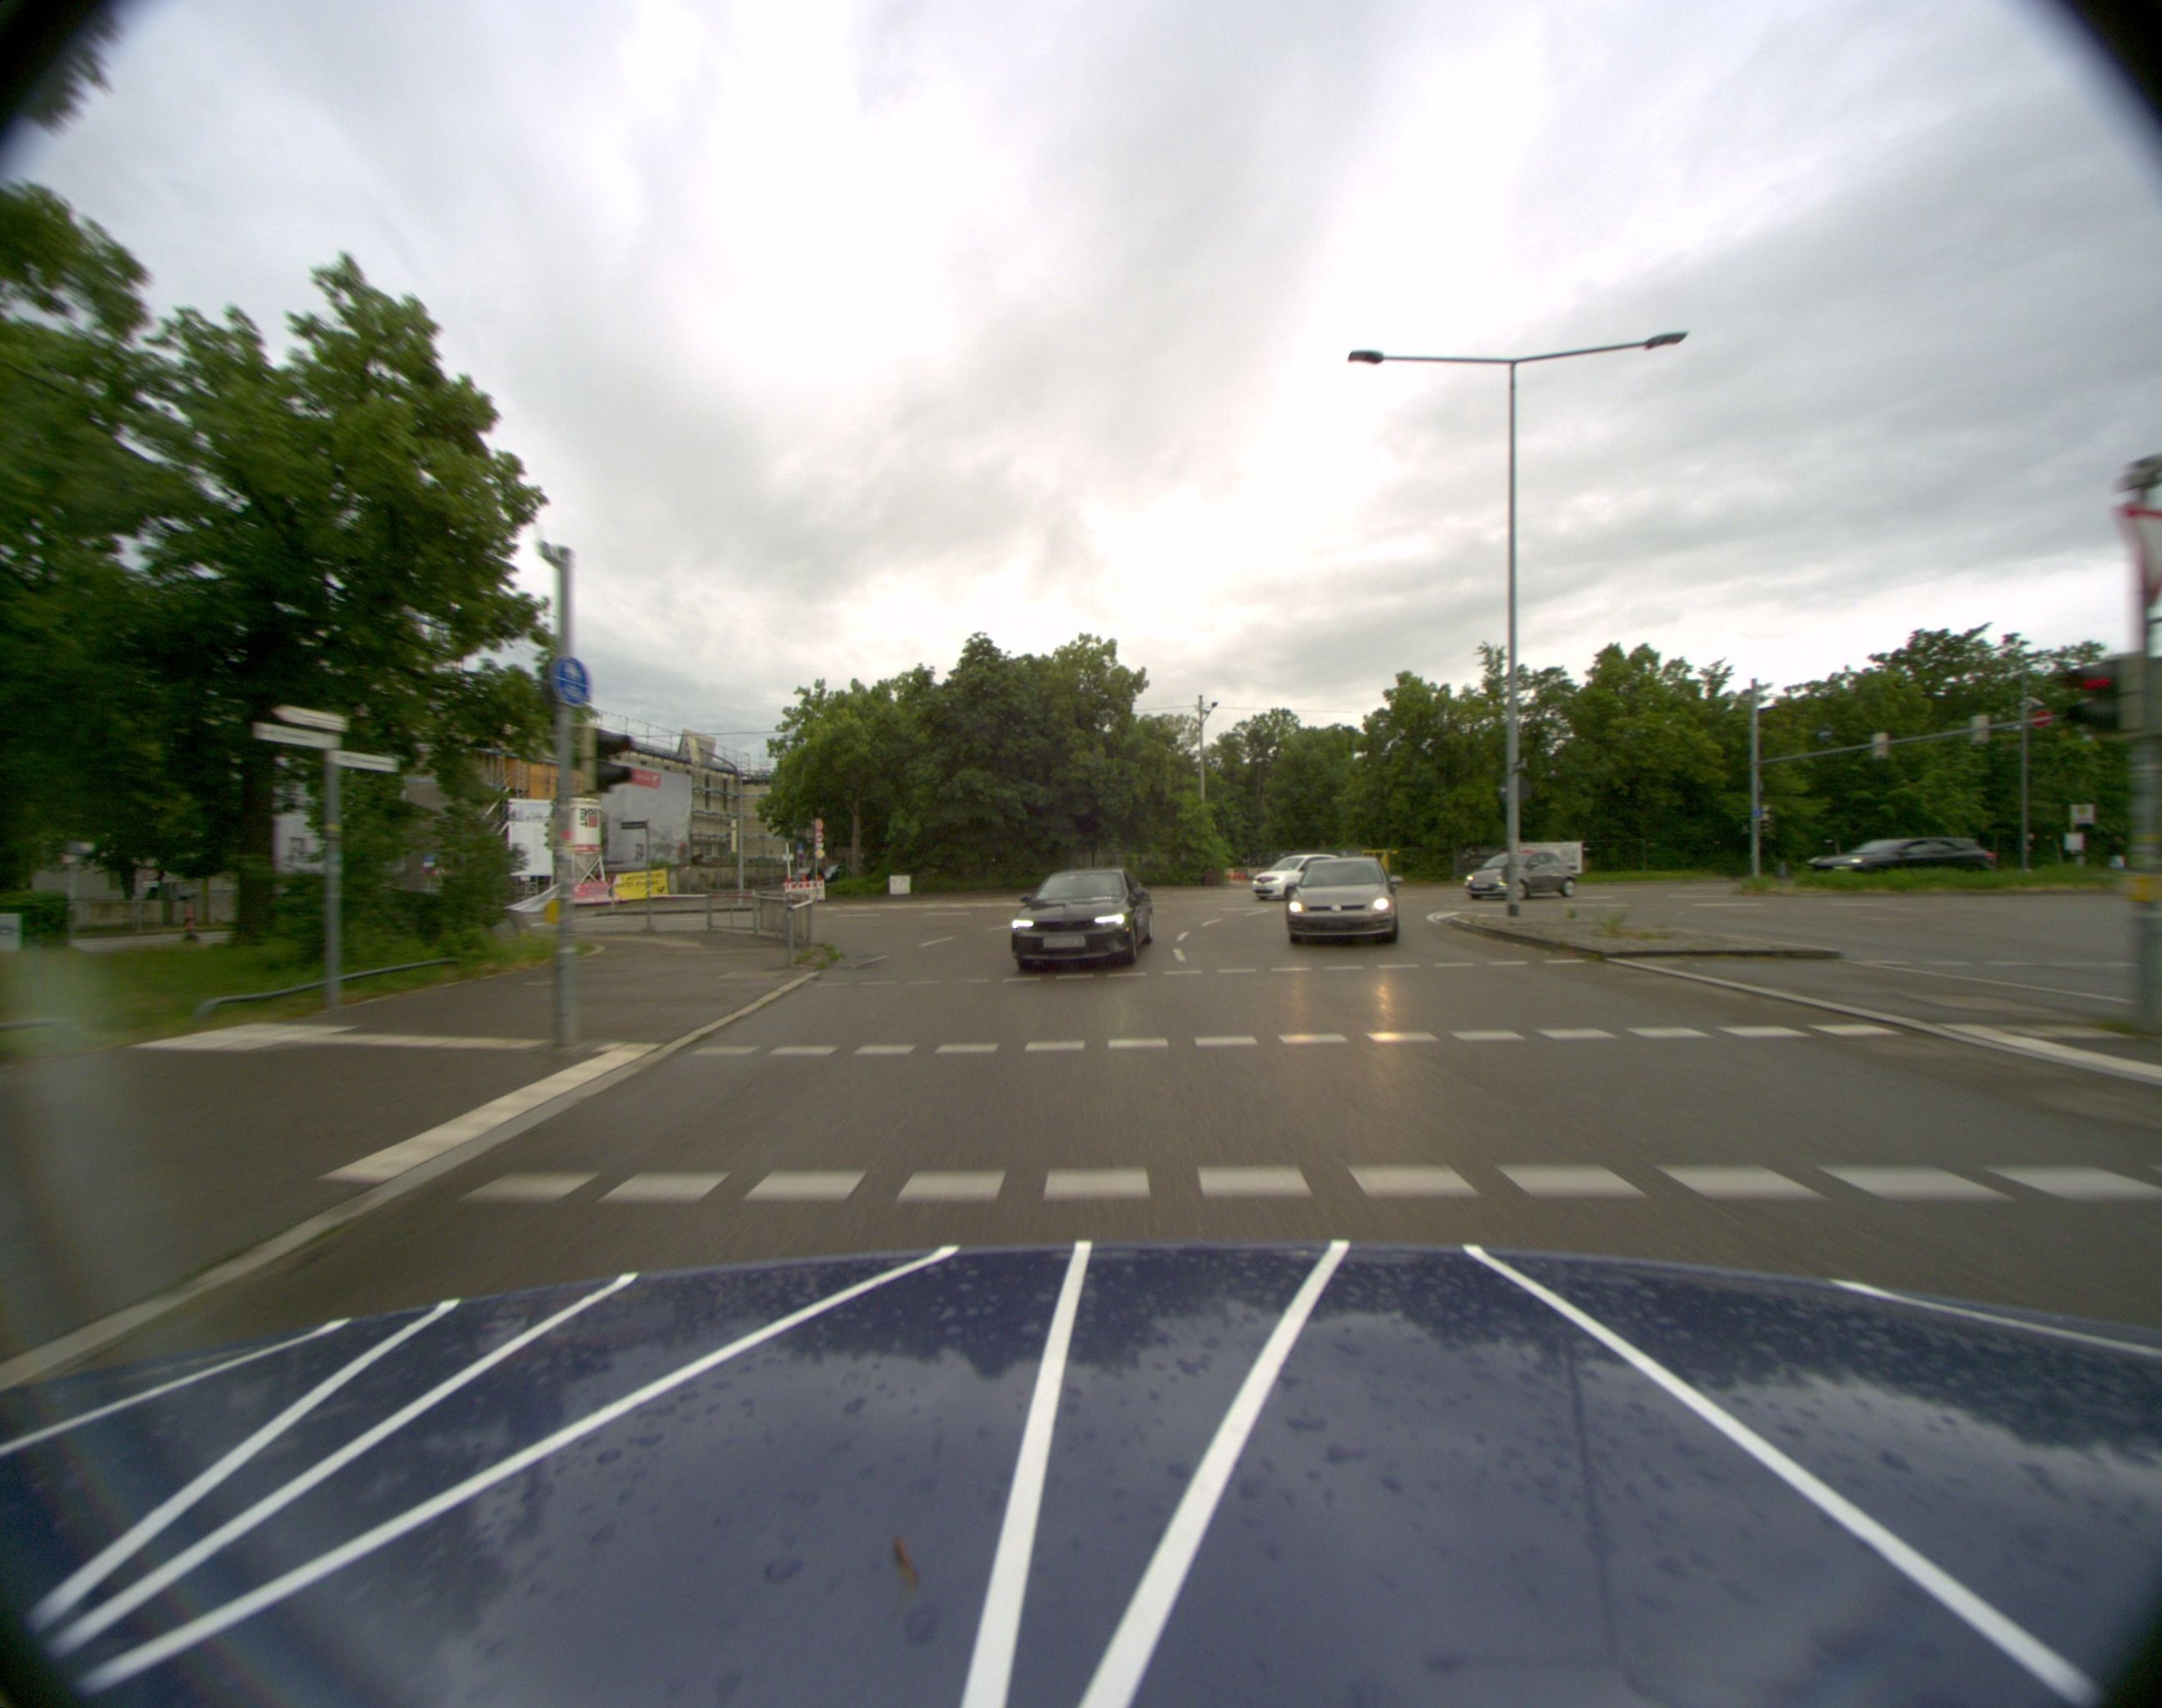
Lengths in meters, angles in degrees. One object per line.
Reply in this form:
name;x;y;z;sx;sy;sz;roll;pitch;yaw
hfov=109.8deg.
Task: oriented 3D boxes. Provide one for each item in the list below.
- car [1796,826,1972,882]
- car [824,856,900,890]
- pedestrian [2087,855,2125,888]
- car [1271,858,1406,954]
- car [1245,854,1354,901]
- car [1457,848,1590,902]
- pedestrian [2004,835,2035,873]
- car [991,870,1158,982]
car;27.652;0.005;26.260;3.996;1.761;1.907;-1;0;1
car;-13.612;1.155;47.324;4.008;2.002;1.994;-1;0;-43
pedestrian;53.051;0.916;39.330;0.831;1.666;0.822;-1;0;2
car;4.853;0.843;13.967;1.901;1.431;4.007;-2;0;25
car;7.659;0.781;26.597;3.585;1.511;1.642;-1;0;-31
car;13.829;0.614;23.782;3.661;1.520;1.668;-2;0;-22
pedestrian;47.502;0.011;38.463;0.699;1.872;0.678;-1;0;2
car;0.114;1.040;12.553;1.802;1.422;4.524;-2;0;12
